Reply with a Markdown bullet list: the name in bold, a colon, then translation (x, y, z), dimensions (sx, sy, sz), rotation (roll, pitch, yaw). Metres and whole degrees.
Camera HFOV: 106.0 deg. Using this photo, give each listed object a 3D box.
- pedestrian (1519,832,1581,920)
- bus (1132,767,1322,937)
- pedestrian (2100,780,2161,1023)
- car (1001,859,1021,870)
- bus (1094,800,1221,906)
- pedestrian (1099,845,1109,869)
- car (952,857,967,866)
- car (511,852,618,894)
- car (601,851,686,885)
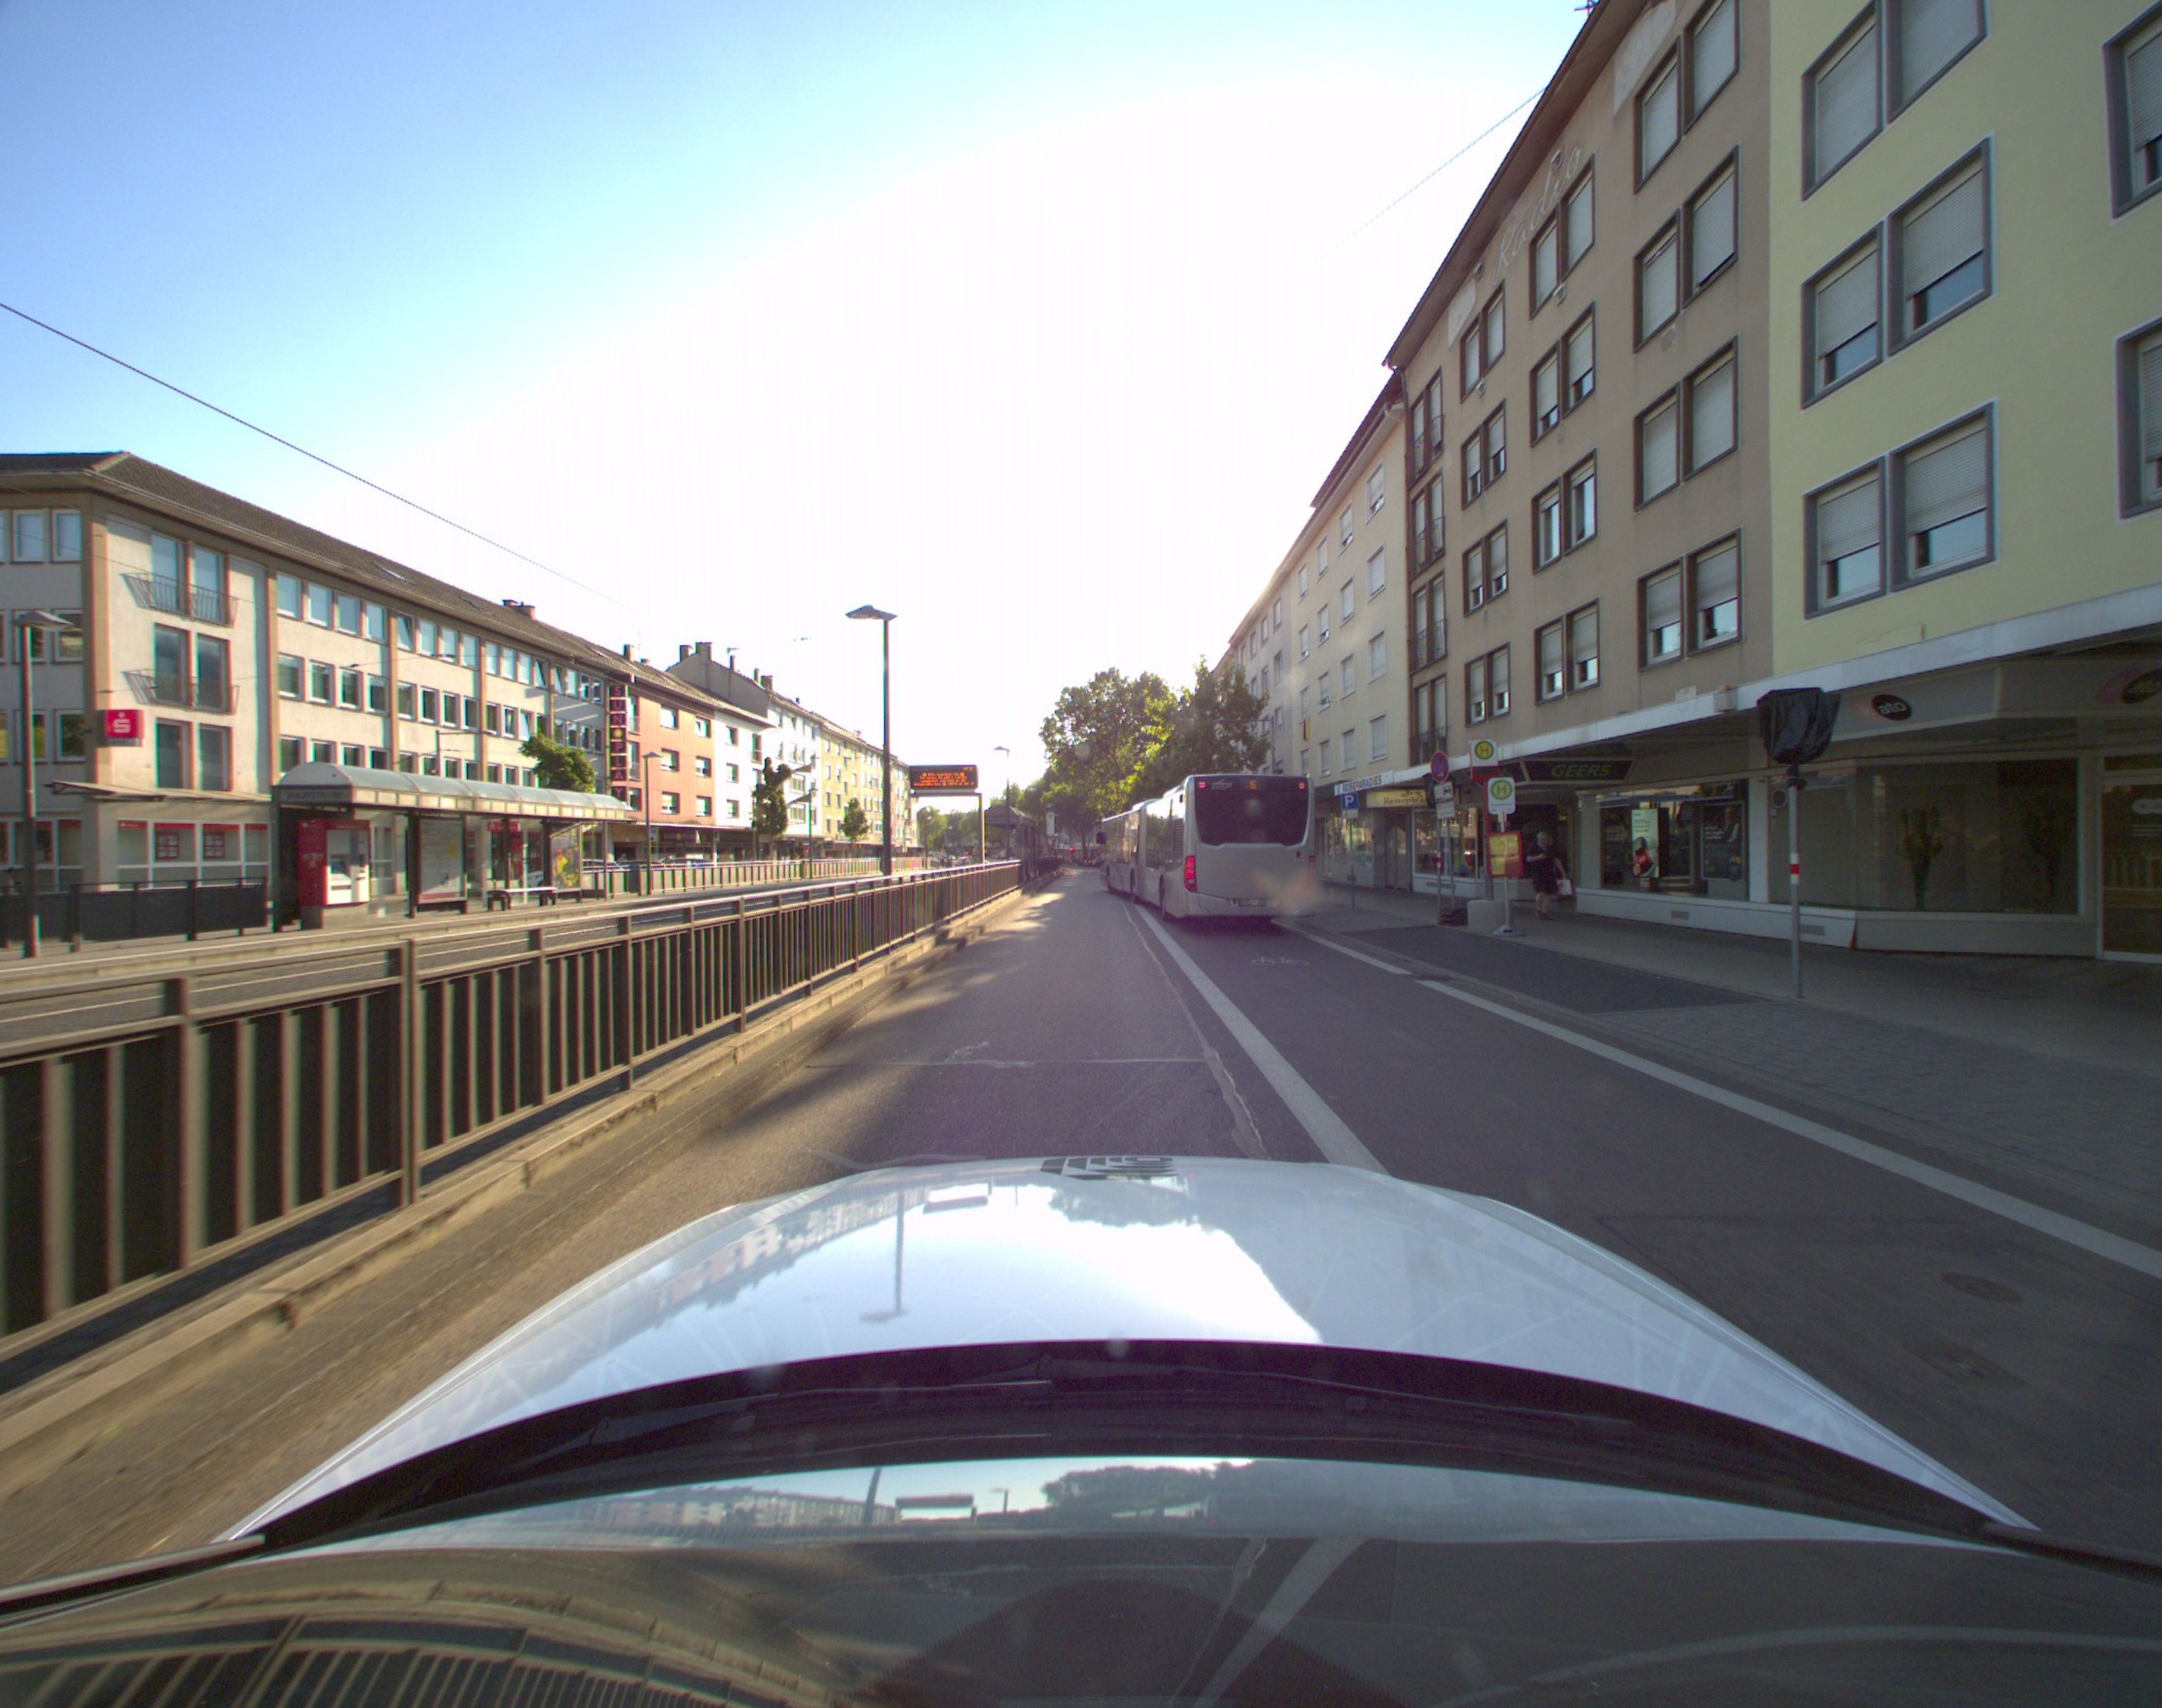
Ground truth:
- **pedestrian**: translation (8.996, 0.420, 15.638), dimensions (0.721, 1.632, 0.766), rotation (-1, 0, 1)
- **bus**: translation (2.992, -0.062, 19.706), dimensions (2.689, 3.118, 9.375), rotation (0, 0, -2)
- **pedestrian**: translation (8.549, 0.354, 6.143), dimensions (0.721, 1.840, 0.766), rotation (-1, 0, 1)
- **car**: translation (-13.846, 2.092, 160.783), dimensions (3.982, 2.013, 1.959), rotation (-1, 0, -6)
- **bus**: translation (2.363, -0.052, 28.696), dimensions (2.693, 3.118, 9.050), rotation (0, 0, -6)
- **pedestrian**: translation (2.439, 0.301, 87.652), dimensions (0.884, 2.546, 1.166), rotation (-1, 0, 8)
- **car**: translation (-22.695, 1.427, 152.190), dimensions (1.986, 1.651, 4.001), rotation (-1, 0, 1)
- **car**: translation (-22.321, 0.776, 35.266), dimensions (1.748, 1.679, 3.533), rotation (-1, 0, 41)
- **car**: translation (-22.847, 0.691, 42.571), dimensions (3.531, 1.679, 1.749), rotation (-1, 0, -45)
